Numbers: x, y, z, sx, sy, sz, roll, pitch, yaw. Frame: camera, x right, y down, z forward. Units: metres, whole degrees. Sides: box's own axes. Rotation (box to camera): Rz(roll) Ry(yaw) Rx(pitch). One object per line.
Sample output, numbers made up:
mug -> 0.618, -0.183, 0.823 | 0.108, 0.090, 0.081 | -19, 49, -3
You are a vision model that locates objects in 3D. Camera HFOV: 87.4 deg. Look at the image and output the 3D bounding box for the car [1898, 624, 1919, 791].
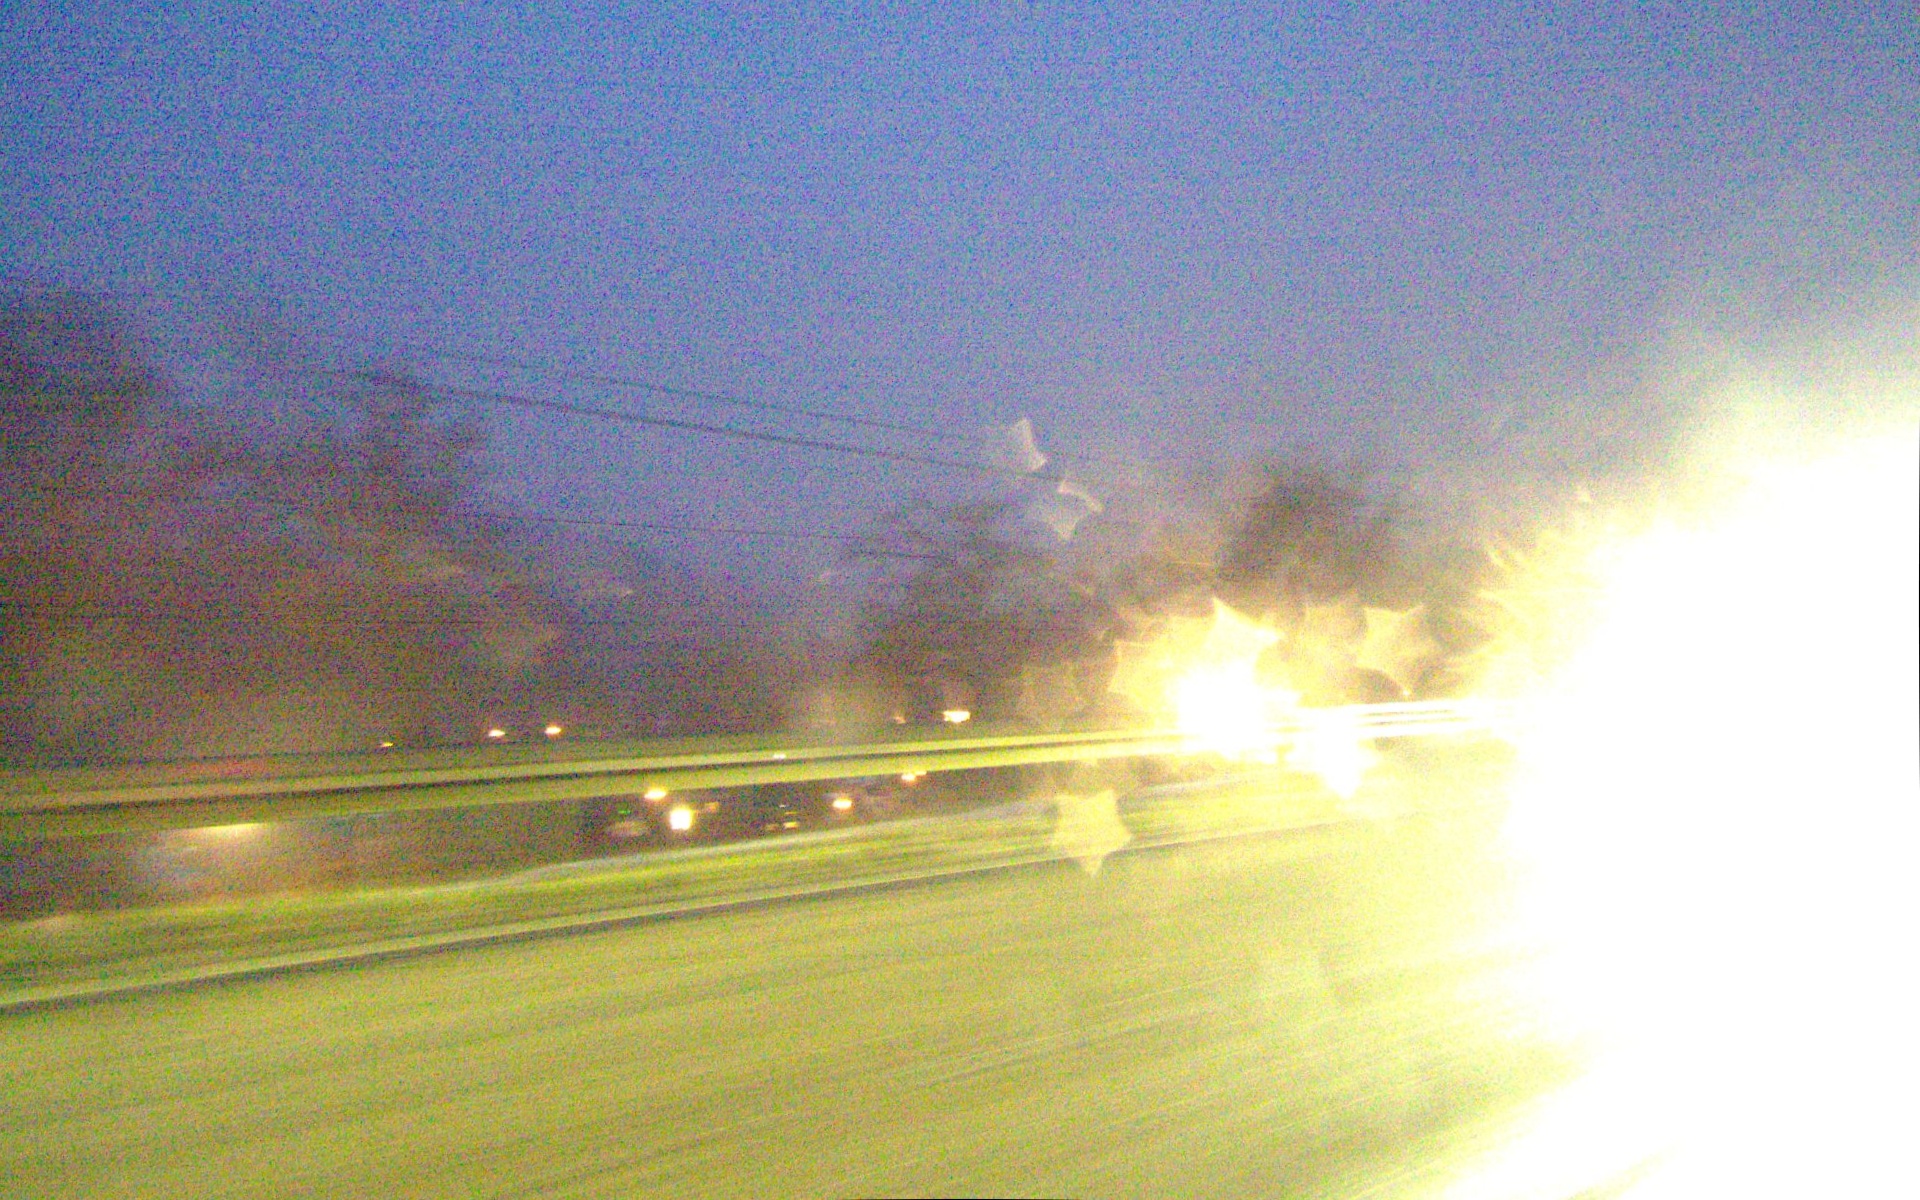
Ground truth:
car -> 10.169, 0.937, 8.890 | 3.815, 1.421, 1.732 | 1, -1, -30
